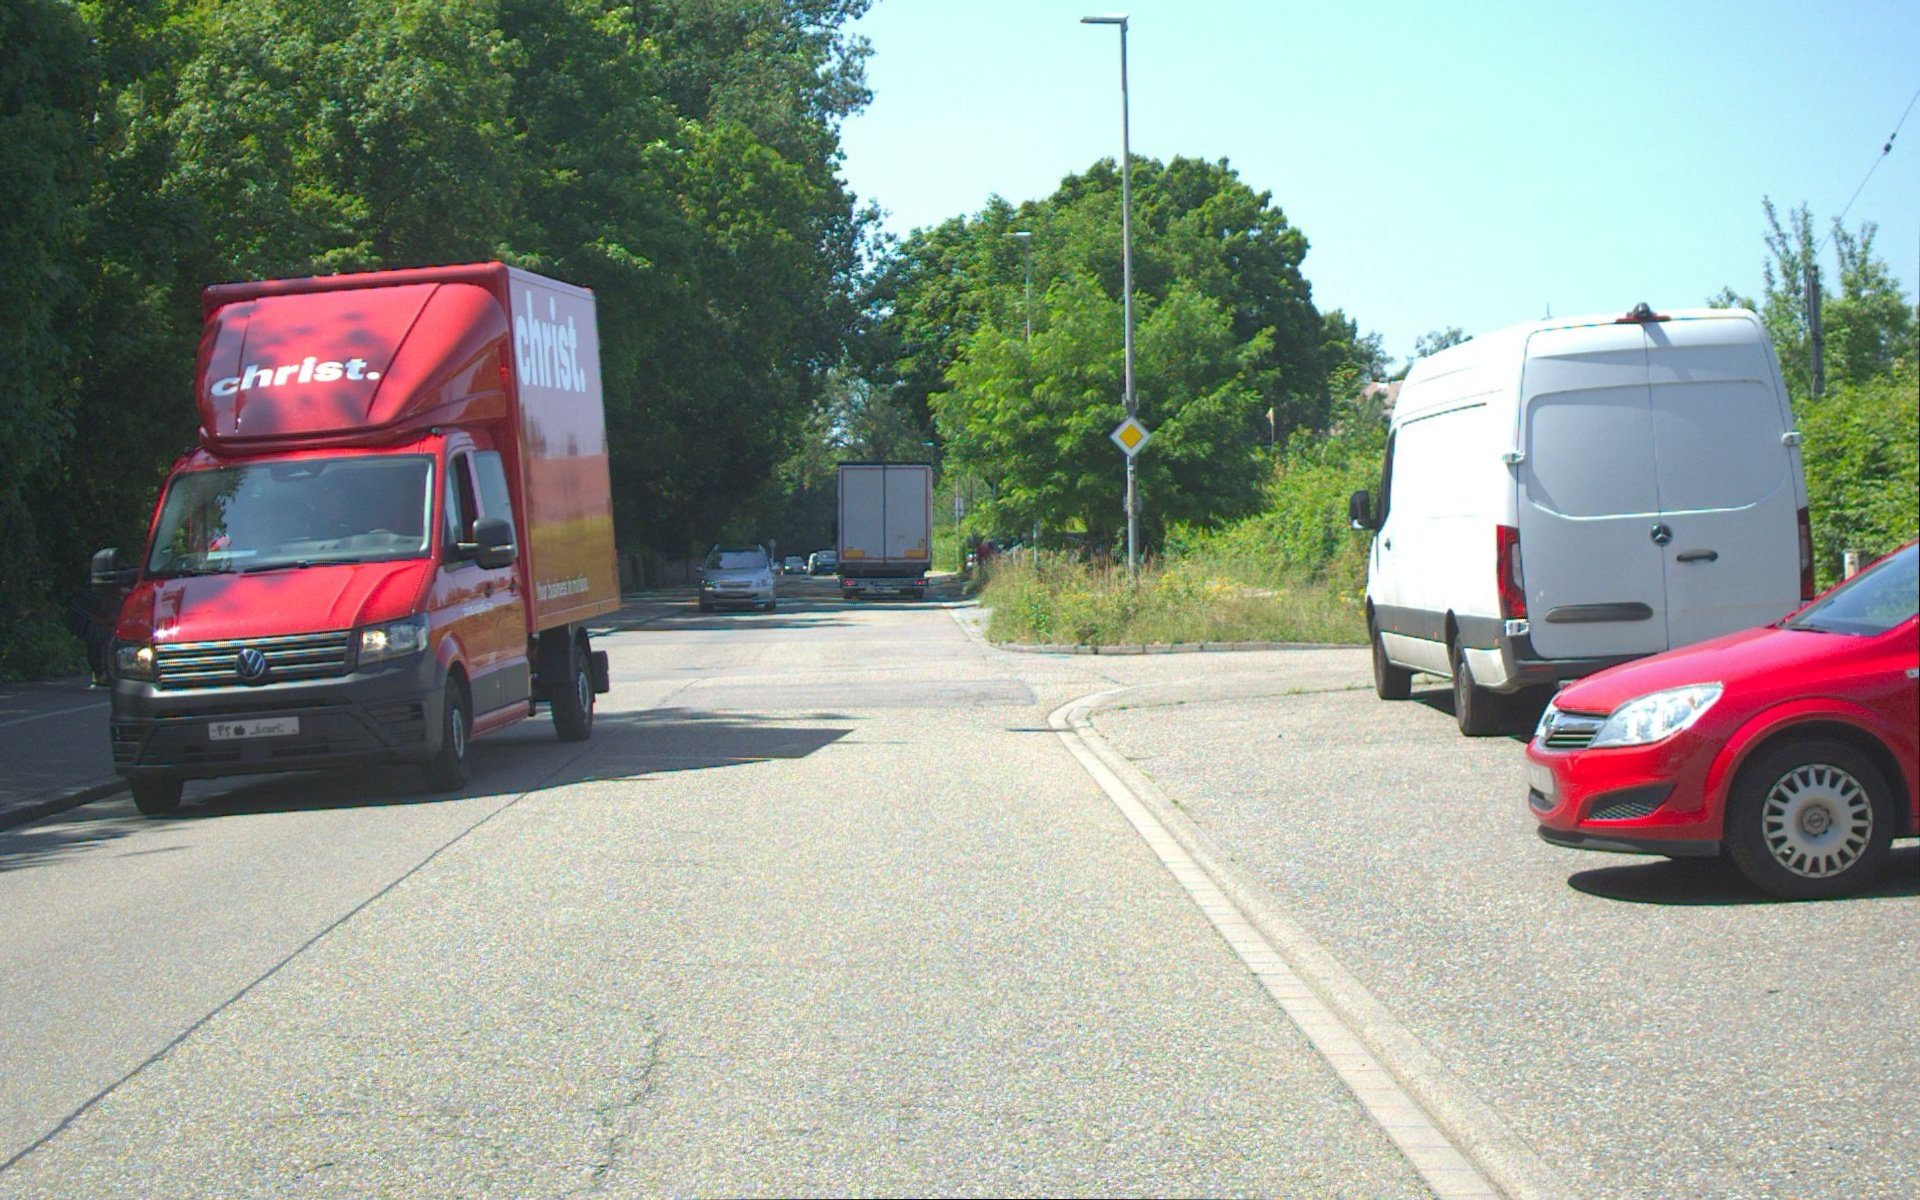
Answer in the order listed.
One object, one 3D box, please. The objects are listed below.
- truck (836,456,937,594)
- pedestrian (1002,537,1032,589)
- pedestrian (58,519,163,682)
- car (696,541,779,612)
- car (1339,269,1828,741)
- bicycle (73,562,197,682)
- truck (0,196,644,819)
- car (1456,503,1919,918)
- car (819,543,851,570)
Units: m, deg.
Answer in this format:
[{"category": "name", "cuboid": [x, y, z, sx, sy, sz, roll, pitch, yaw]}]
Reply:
[{"category": "truck", "cuboid": [-2.056, -2.163, 99.680, 2.733, 3.733, 13.246, 0, 1, -1]}, {"category": "pedestrian", "cuboid": [1.848, -1.210, 111.696, 0.863, 1.671, 0.886, -1, 1, -2]}, {"category": "pedestrian", "cuboid": [-9.058, -0.001, 36.672, 0.808, 1.712, 0.776, 0, 1, 15]}, {"category": "car", "cuboid": [-5.228, -0.583, 81.207, 1.791, 1.567, 4.272, -1, 2, -2]}, {"category": "car", "cuboid": [4.142, -0.666, 24.224, 1.954, 2.724, 7.168, -3, 2, 0]}, {"category": "bicycle", "cuboid": [-8.757, 0.218, 36.562, 0.521, 1.232, 1.960, 1, 1, 11]}, {"category": "truck", "cuboid": [-4.030, -0.626, 23.311, 2.323, 3.428, 7.160, -4, 1, 5]}, {"category": "car", "cuboid": [4.221, 0.320, 13.754, 4.053, 1.429, 1.836, -3, 2, -4]}, {"category": "car", "cuboid": [-8.241, -2.893, 226.657, 1.993, 1.678, 4.262, -1, 1, -1]}]
